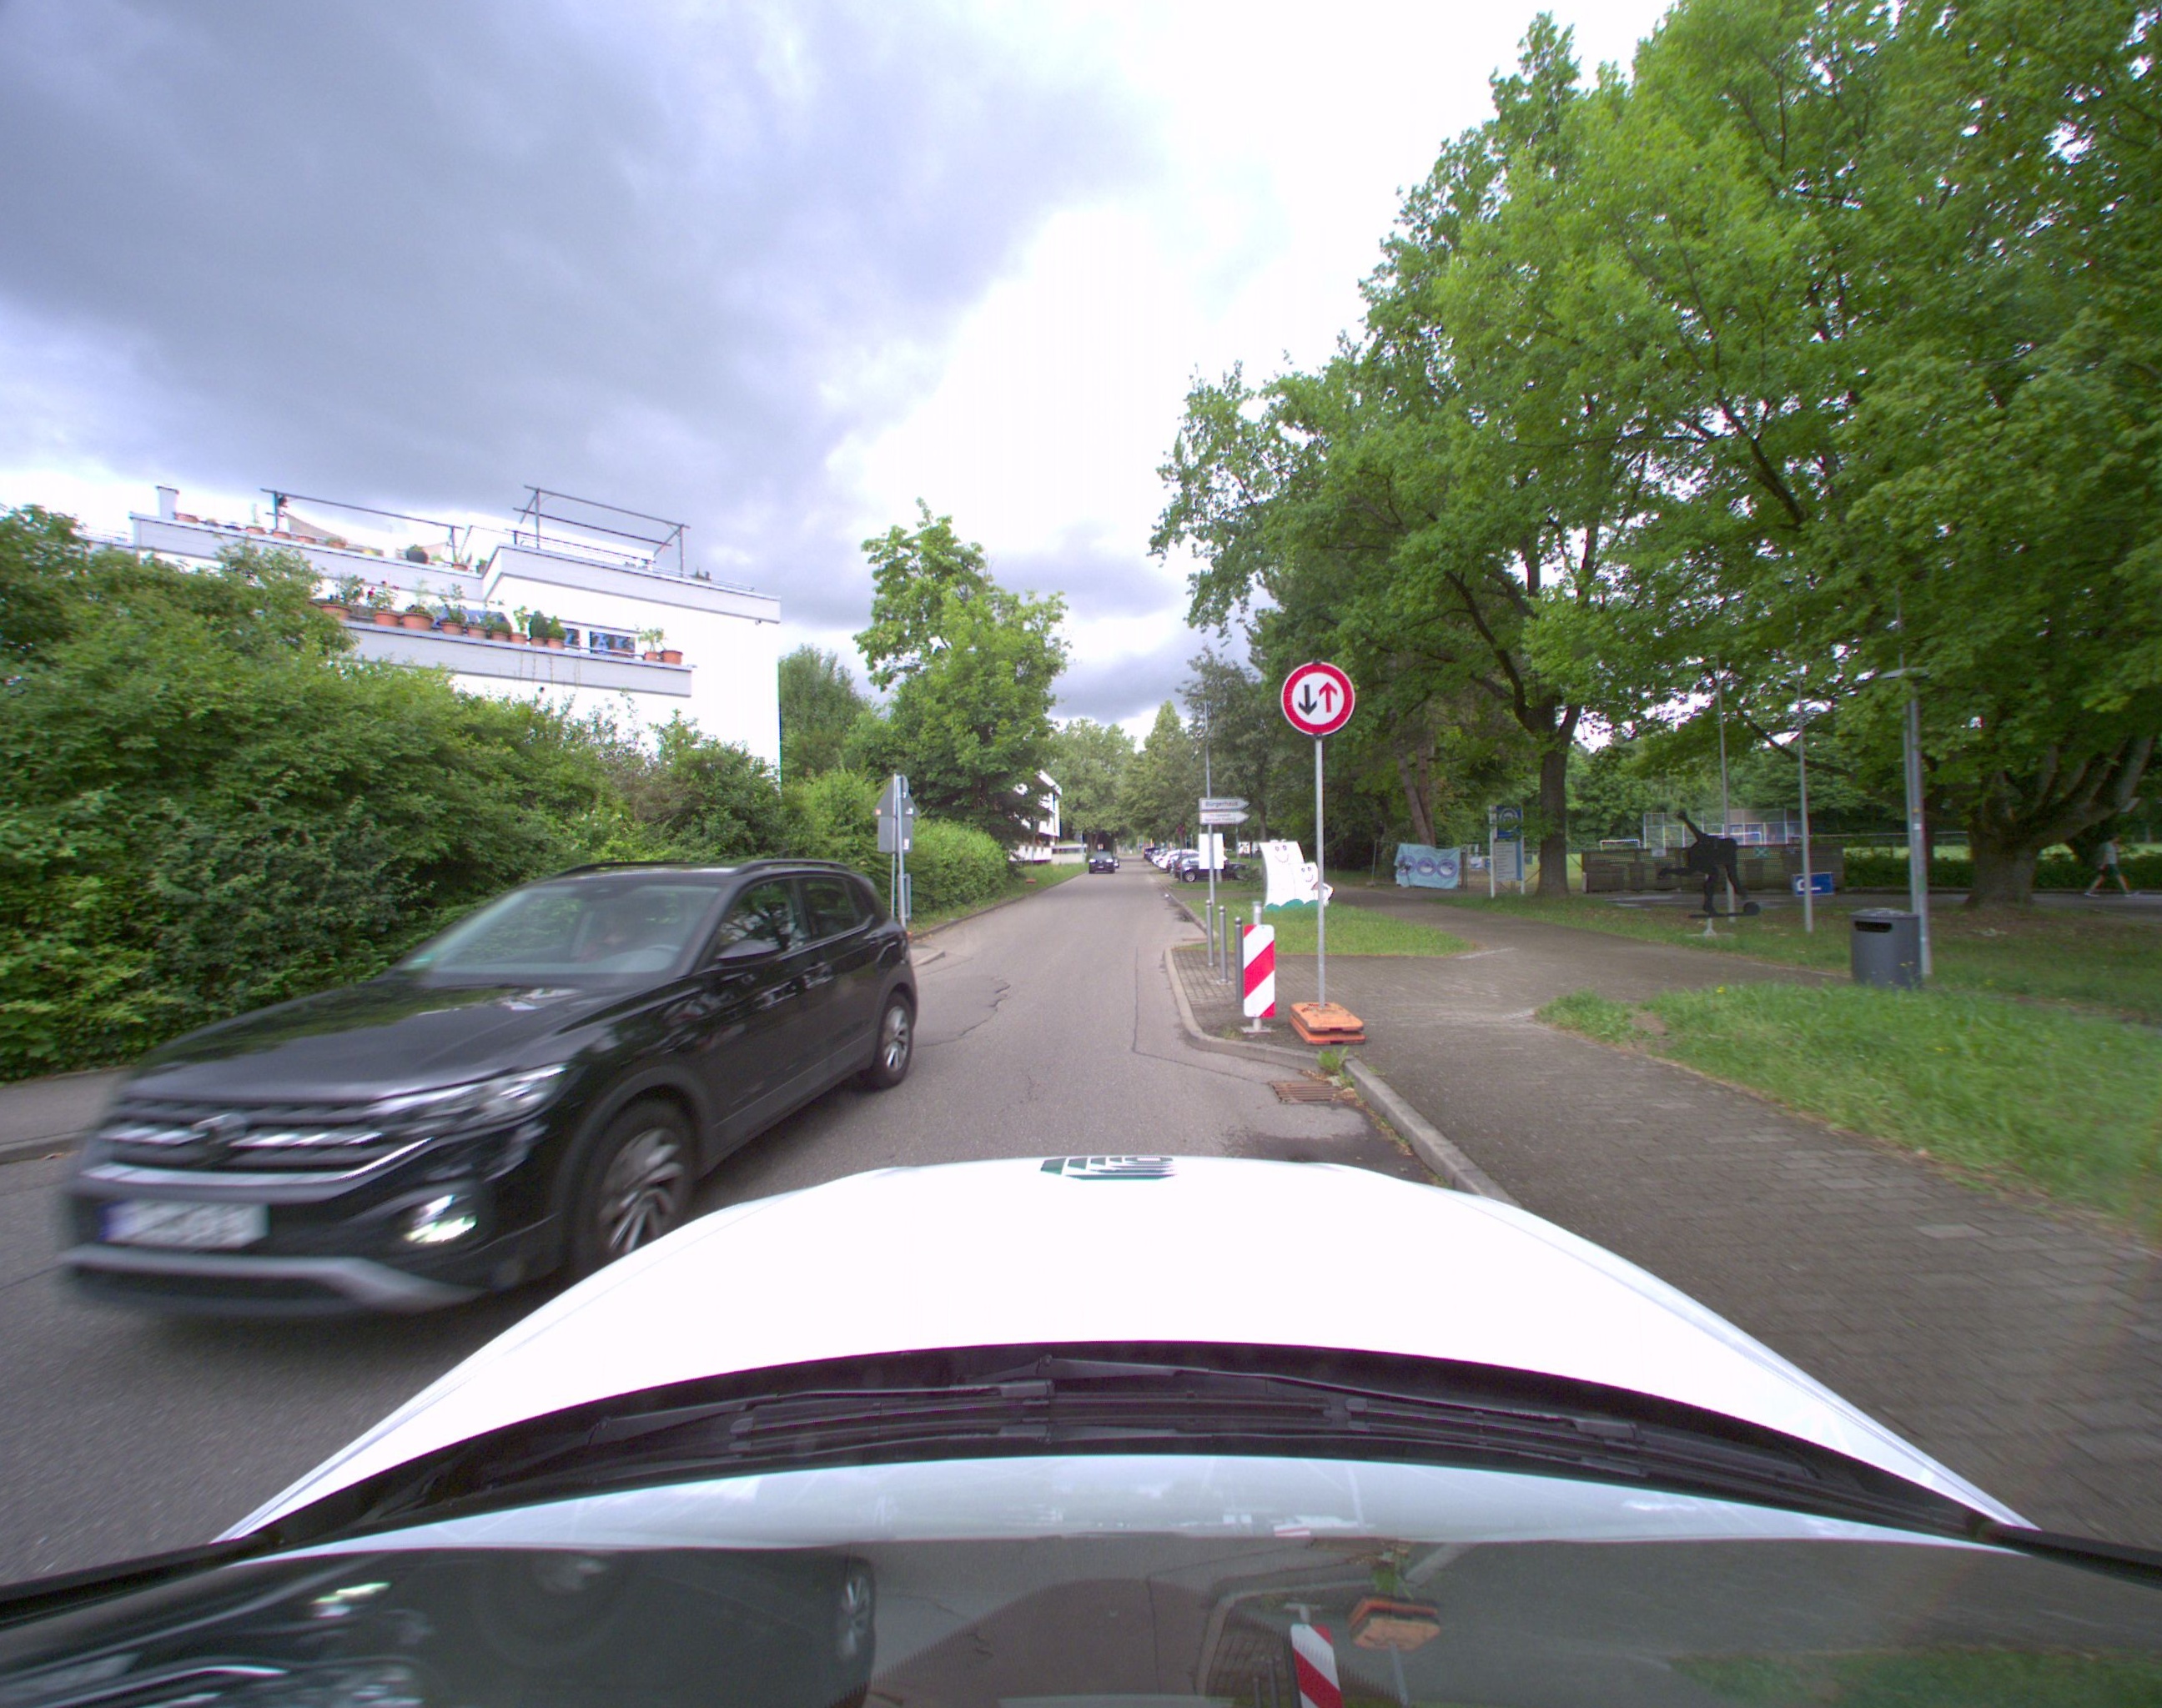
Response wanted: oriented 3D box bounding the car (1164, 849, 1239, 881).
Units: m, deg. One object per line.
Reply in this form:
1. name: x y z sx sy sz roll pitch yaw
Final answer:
1. car: 6.854 0.644 46.613 4.046 1.568 1.823 -3 -2 2

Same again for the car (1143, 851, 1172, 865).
1. car: 11.632 0.574 124.319 4.050 1.770 1.822 -5 0 0

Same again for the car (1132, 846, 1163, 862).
1. car: 9.132 0.015 111.748 4.050 1.770 1.822 -5 0 0

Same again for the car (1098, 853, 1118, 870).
1. car: 2.814 0.747 83.267 1.961 1.575 4.341 -1 0 3

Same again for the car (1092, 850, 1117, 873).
1. car: 1.936 0.577 66.049 1.961 1.747 4.341 -1 0 3

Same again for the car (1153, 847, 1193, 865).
1. car: 10.241 0.211 90.790 4.050 1.687 1.822 -5 0 0

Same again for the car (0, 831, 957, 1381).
1. car: -2.266 0.742 4.618 1.792 1.591 4.307 -1 0 10

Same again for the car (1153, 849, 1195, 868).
1. car: 9.651 0.472 85.035 4.050 1.687 1.822 -5 0 0

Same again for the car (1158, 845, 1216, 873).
1. car: 7.995 0.385 61.553 4.050 1.687 1.822 -5 0 0

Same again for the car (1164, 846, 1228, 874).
1. car: 7.918 0.403 56.270 4.050 1.488 1.822 -5 0 0

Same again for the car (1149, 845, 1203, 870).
1. car: 7.604 0.275 65.314 4.050 1.687 1.822 -5 0 0

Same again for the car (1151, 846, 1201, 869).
1. car: 8.382 0.324 72.053 4.050 1.687 1.822 -5 0 0

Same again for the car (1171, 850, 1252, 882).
1. car: 6.942 0.653 43.790 4.046 1.434 2.001 -3 -2 2

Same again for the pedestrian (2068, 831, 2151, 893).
1. pedestrian: 28.900 0.228 22.917 1.137 1.674 0.798 -4 -2 29

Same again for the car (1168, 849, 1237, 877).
1. car: 7.624 0.556 51.357 4.046 1.568 1.824 -3 0 2
